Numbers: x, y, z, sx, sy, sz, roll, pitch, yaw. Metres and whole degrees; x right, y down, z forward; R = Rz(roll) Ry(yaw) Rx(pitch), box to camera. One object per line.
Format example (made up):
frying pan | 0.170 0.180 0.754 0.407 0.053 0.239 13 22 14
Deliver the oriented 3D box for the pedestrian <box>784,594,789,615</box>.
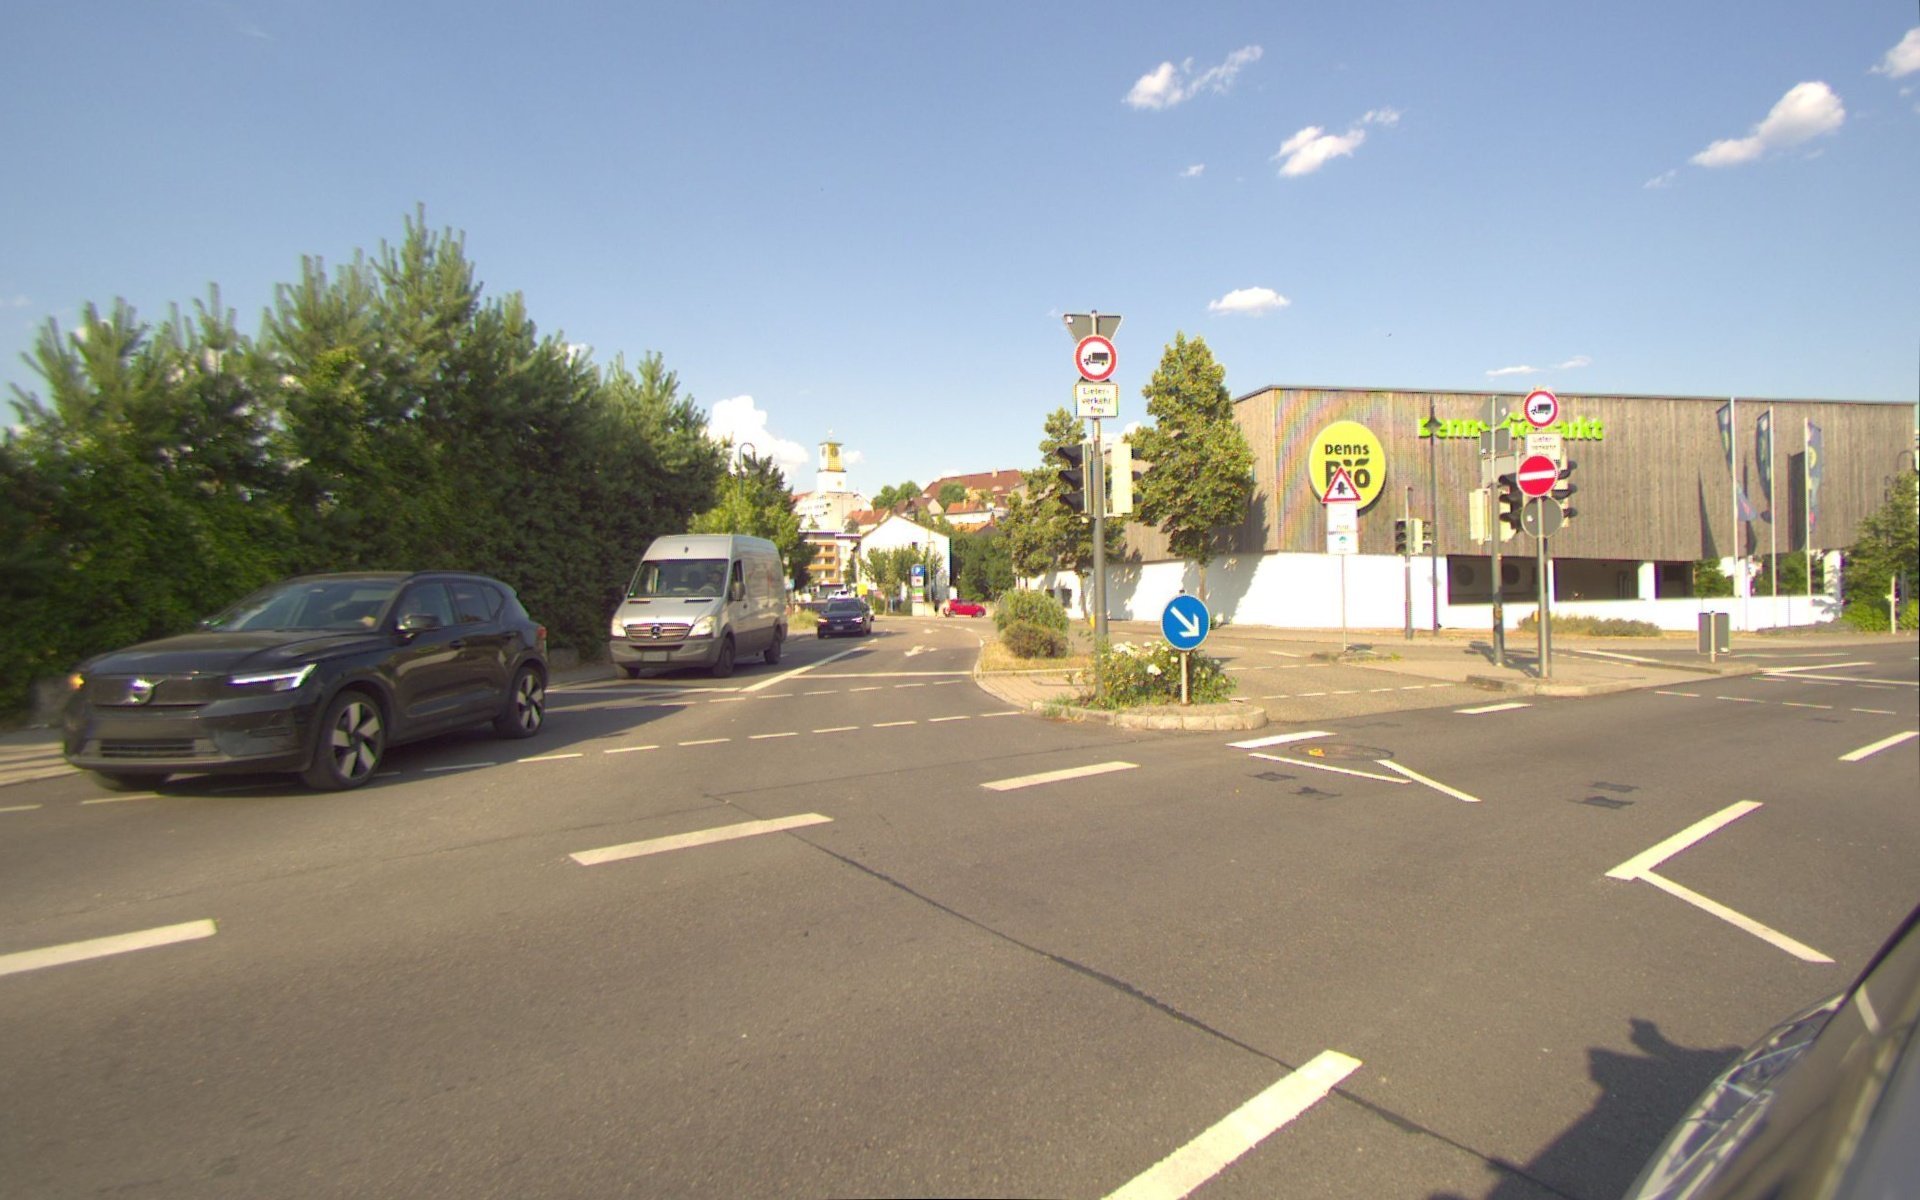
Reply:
pedestrian | -15.886 0.409 92.803 0.412 1.895 0.343 -2 2 -14

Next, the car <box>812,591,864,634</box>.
car | -4.509 0.434 37.823 1.821 1.471 4.005 0 1 -5

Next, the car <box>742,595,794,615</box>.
car | -16.409 0.393 86.524 4.225 1.473 1.899 -2 2 -13

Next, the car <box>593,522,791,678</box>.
car | -4.897 -0.057 19.560 2.153 2.553 5.859 0 1 1

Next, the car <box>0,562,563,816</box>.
car | -5.142 0.516 8.519 1.760 1.586 4.268 0 1 3

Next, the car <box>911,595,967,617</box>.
car | -1.723 0.486 81.515 4.225 1.744 1.899 0 1 -13
